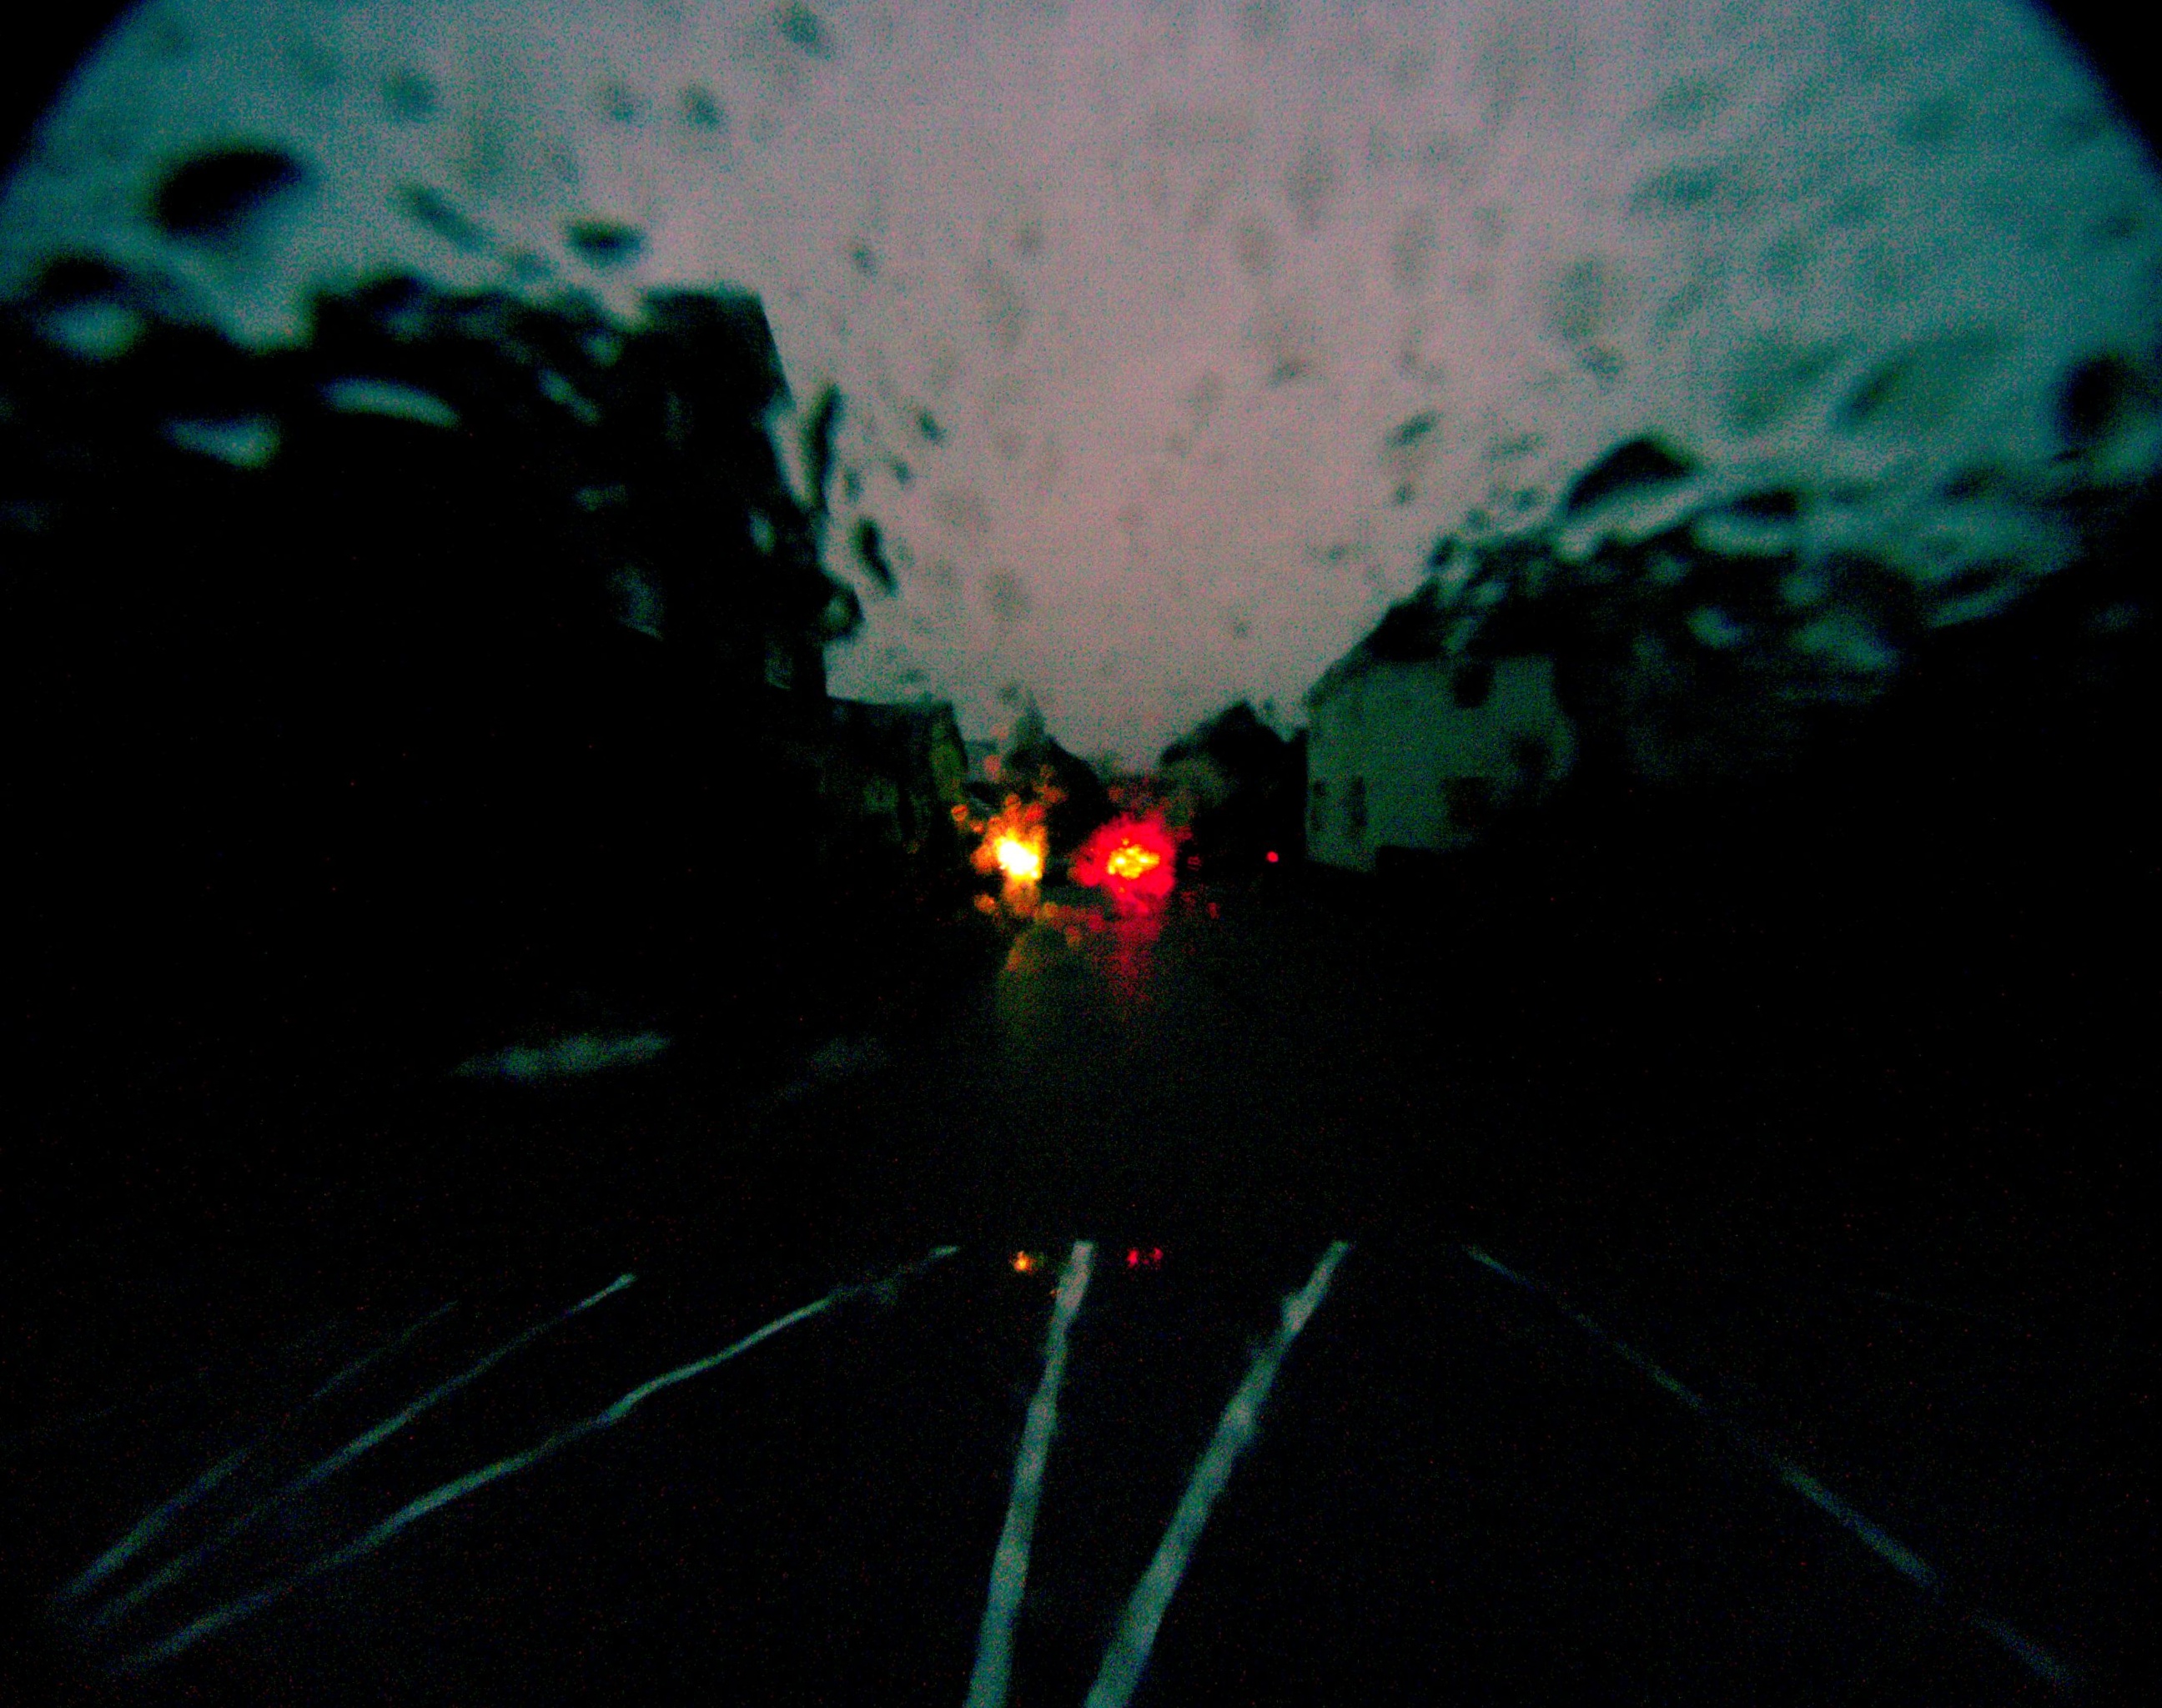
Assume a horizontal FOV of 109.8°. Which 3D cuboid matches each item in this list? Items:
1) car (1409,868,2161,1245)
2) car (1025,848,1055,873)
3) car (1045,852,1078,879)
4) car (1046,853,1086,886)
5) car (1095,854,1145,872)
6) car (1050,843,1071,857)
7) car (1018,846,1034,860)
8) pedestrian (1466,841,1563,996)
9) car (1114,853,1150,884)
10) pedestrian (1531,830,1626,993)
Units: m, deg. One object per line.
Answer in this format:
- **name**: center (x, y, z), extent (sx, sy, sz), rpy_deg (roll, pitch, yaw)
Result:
- **car**: center (4.032, 0.879, 5.187), extent (1.828, 1.432, 4.067), rpy_deg (-2, 0, 0)
- **car**: center (-3.604, 0.550, 66.340), extent (2.000, 2.002, 3.995), rpy_deg (-2, 1, -12)
- **car**: center (-1.210, 0.640, 45.063), extent (1.795, 1.431, 4.620), rpy_deg (-2, 1, -4)
- **car**: center (-0.811, 0.725, 38.262), extent (1.731, 1.423, 4.795), rpy_deg (-2, 1, -4)
- **car**: center (3.827, 0.852, 74.694), extent (4.483, 1.570, 1.997), rpy_deg (-2, 2, -13)
- **car**: center (-2.427, -0.501, 90.085), extent (2.000, 1.620, 3.996), rpy_deg (-2, 1, -8)
- **car**: center (-6.459, -0.154, 88.882), extent (1.765, 1.489, 3.997), rpy_deg (-3, 1, -4)
- **pedestrian**: center (5.188, 0.734, 9.132), extent (0.708, 1.769, 0.812), rpy_deg (-1, 2, 1)
- **car**: center (2.894, 0.824, 44.100), extent (1.762, 1.572, 3.999), rpy_deg (-2, 1, -1)
- **pedestrian**: center (5.947, 0.655, 9.120), extent (0.599, 1.858, 0.812), rpy_deg (-2, 2, 0)
